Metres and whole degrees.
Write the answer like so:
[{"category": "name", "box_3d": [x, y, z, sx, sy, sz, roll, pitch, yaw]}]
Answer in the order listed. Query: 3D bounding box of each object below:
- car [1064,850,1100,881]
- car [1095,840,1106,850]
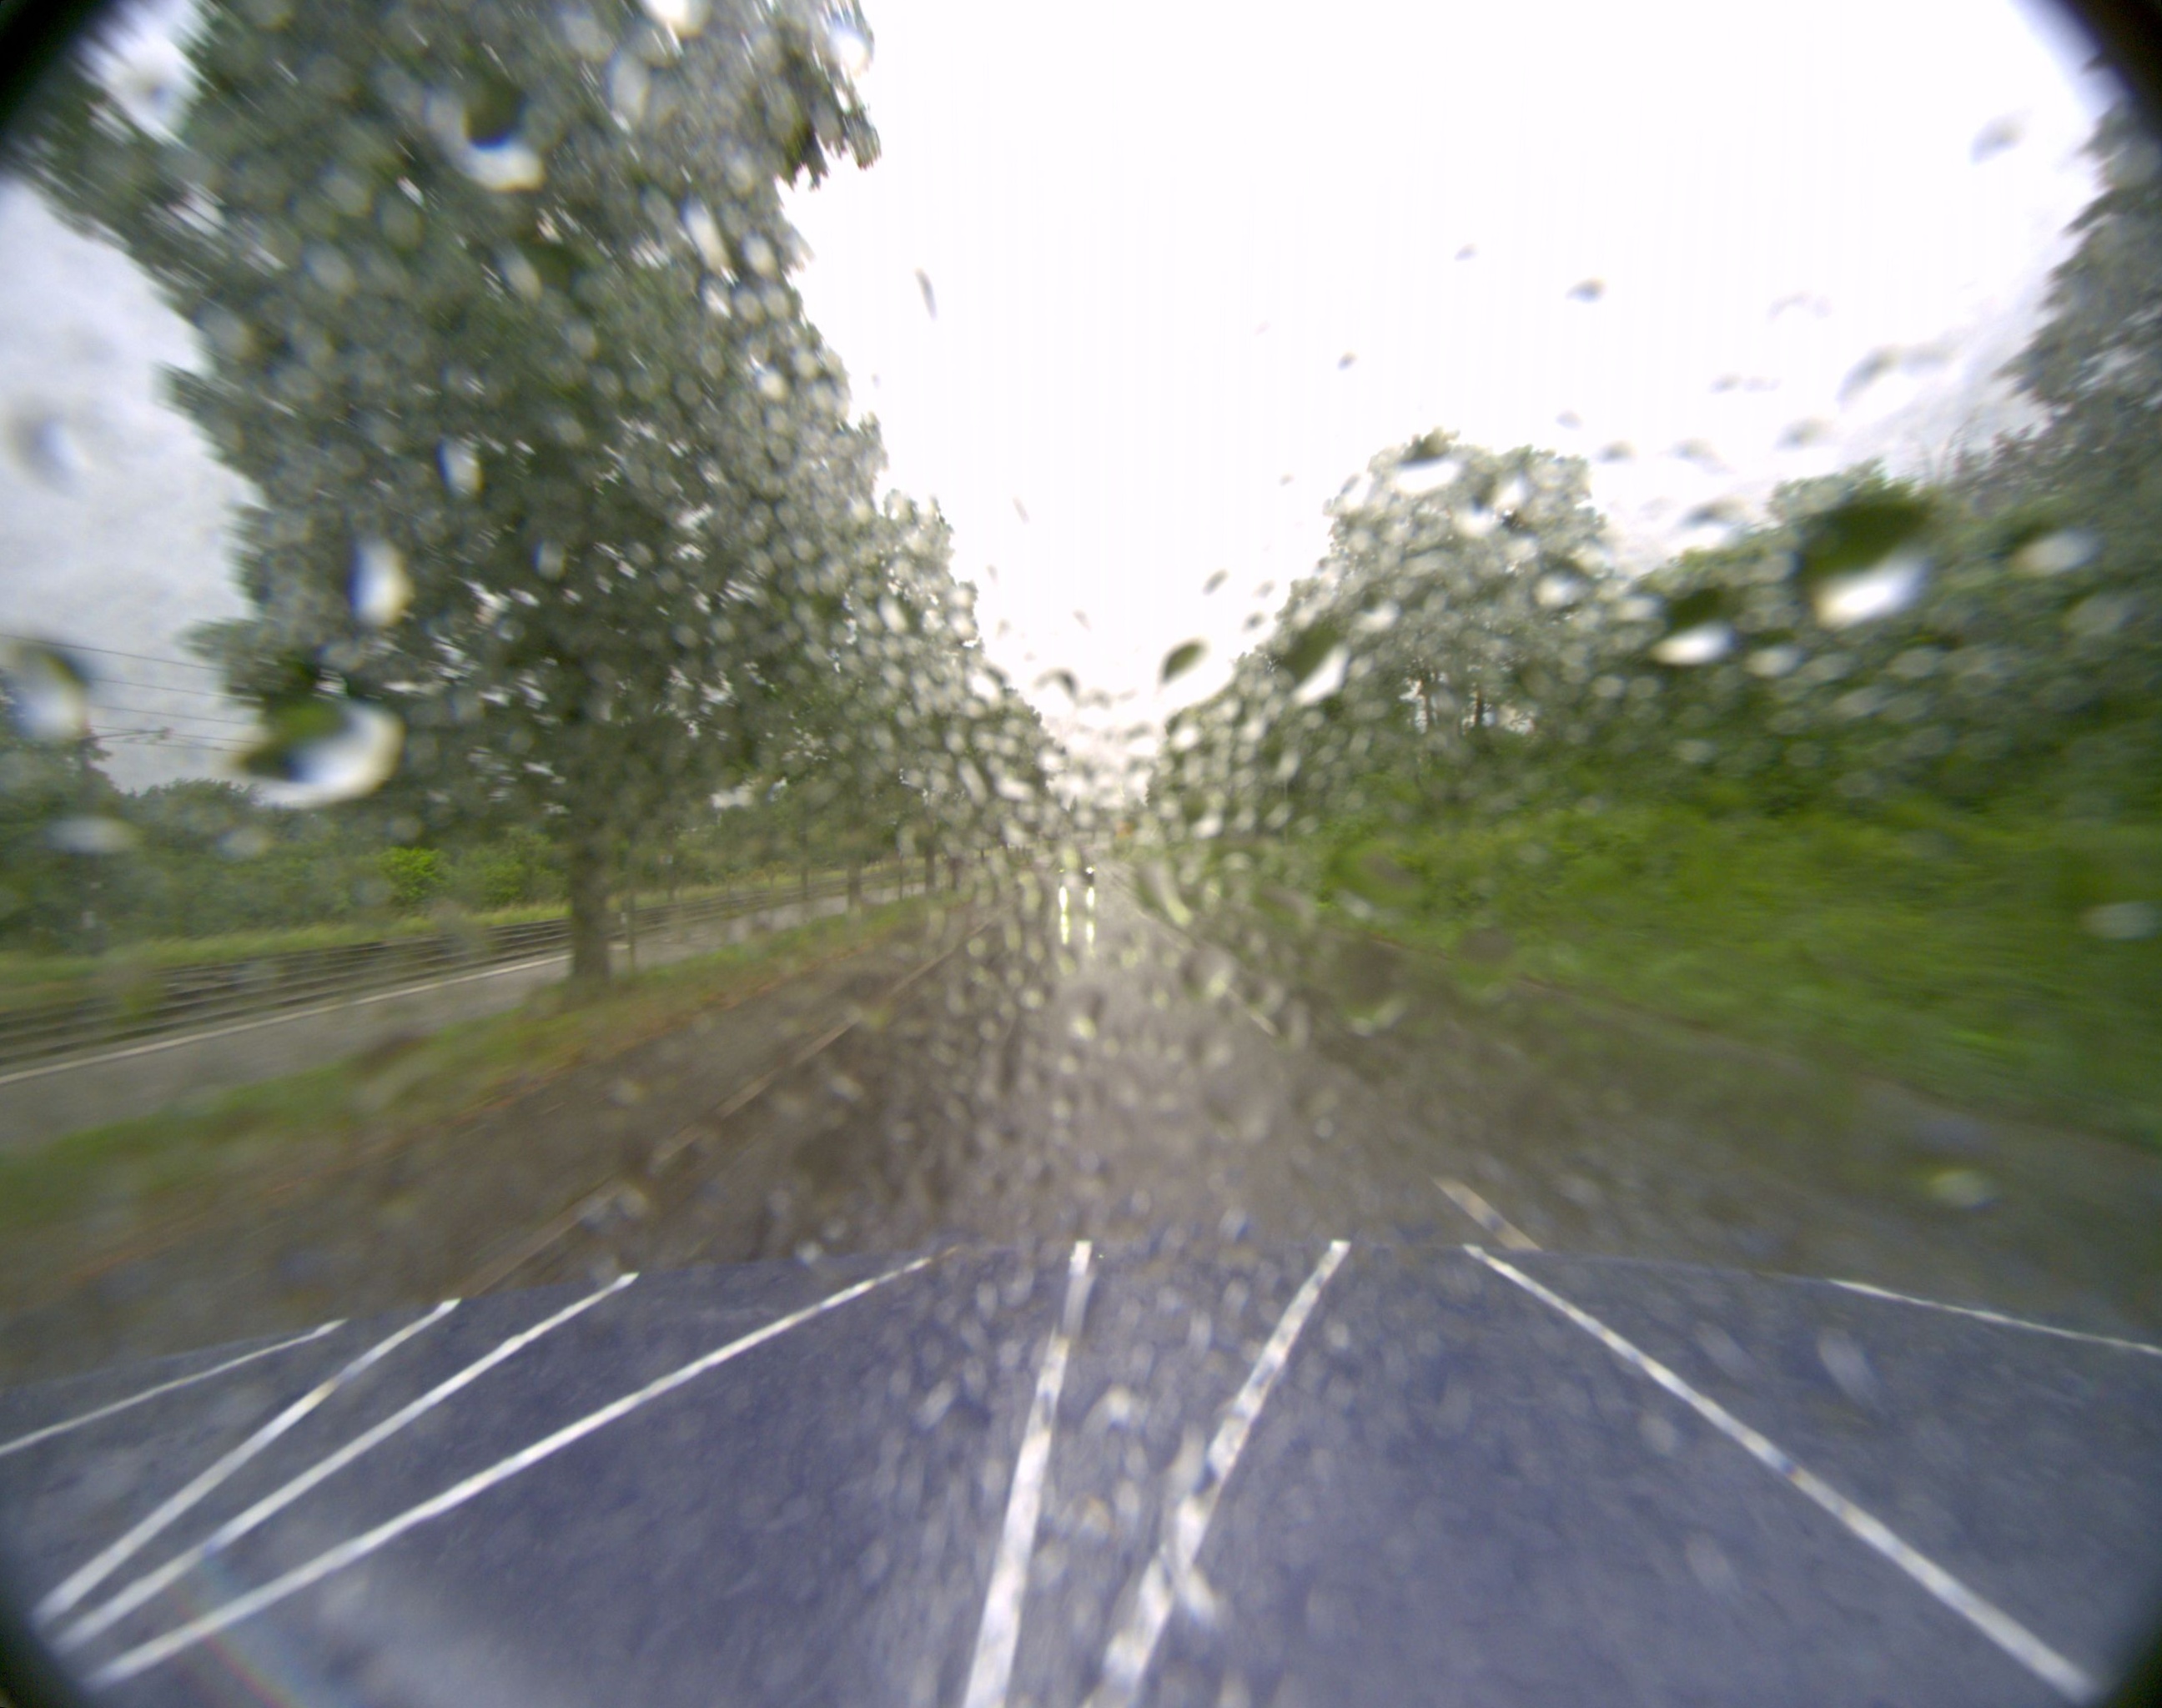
[{"category": "car", "box_3d": [0.102, 0.565, 40.442, 1.764, 1.477, 3.791, 1, 1, 3]}, {"category": "car", "box_3d": [3.270, -1.561, 129.235, 1.765, 1.611, 3.789, 1, 1, -1]}]
